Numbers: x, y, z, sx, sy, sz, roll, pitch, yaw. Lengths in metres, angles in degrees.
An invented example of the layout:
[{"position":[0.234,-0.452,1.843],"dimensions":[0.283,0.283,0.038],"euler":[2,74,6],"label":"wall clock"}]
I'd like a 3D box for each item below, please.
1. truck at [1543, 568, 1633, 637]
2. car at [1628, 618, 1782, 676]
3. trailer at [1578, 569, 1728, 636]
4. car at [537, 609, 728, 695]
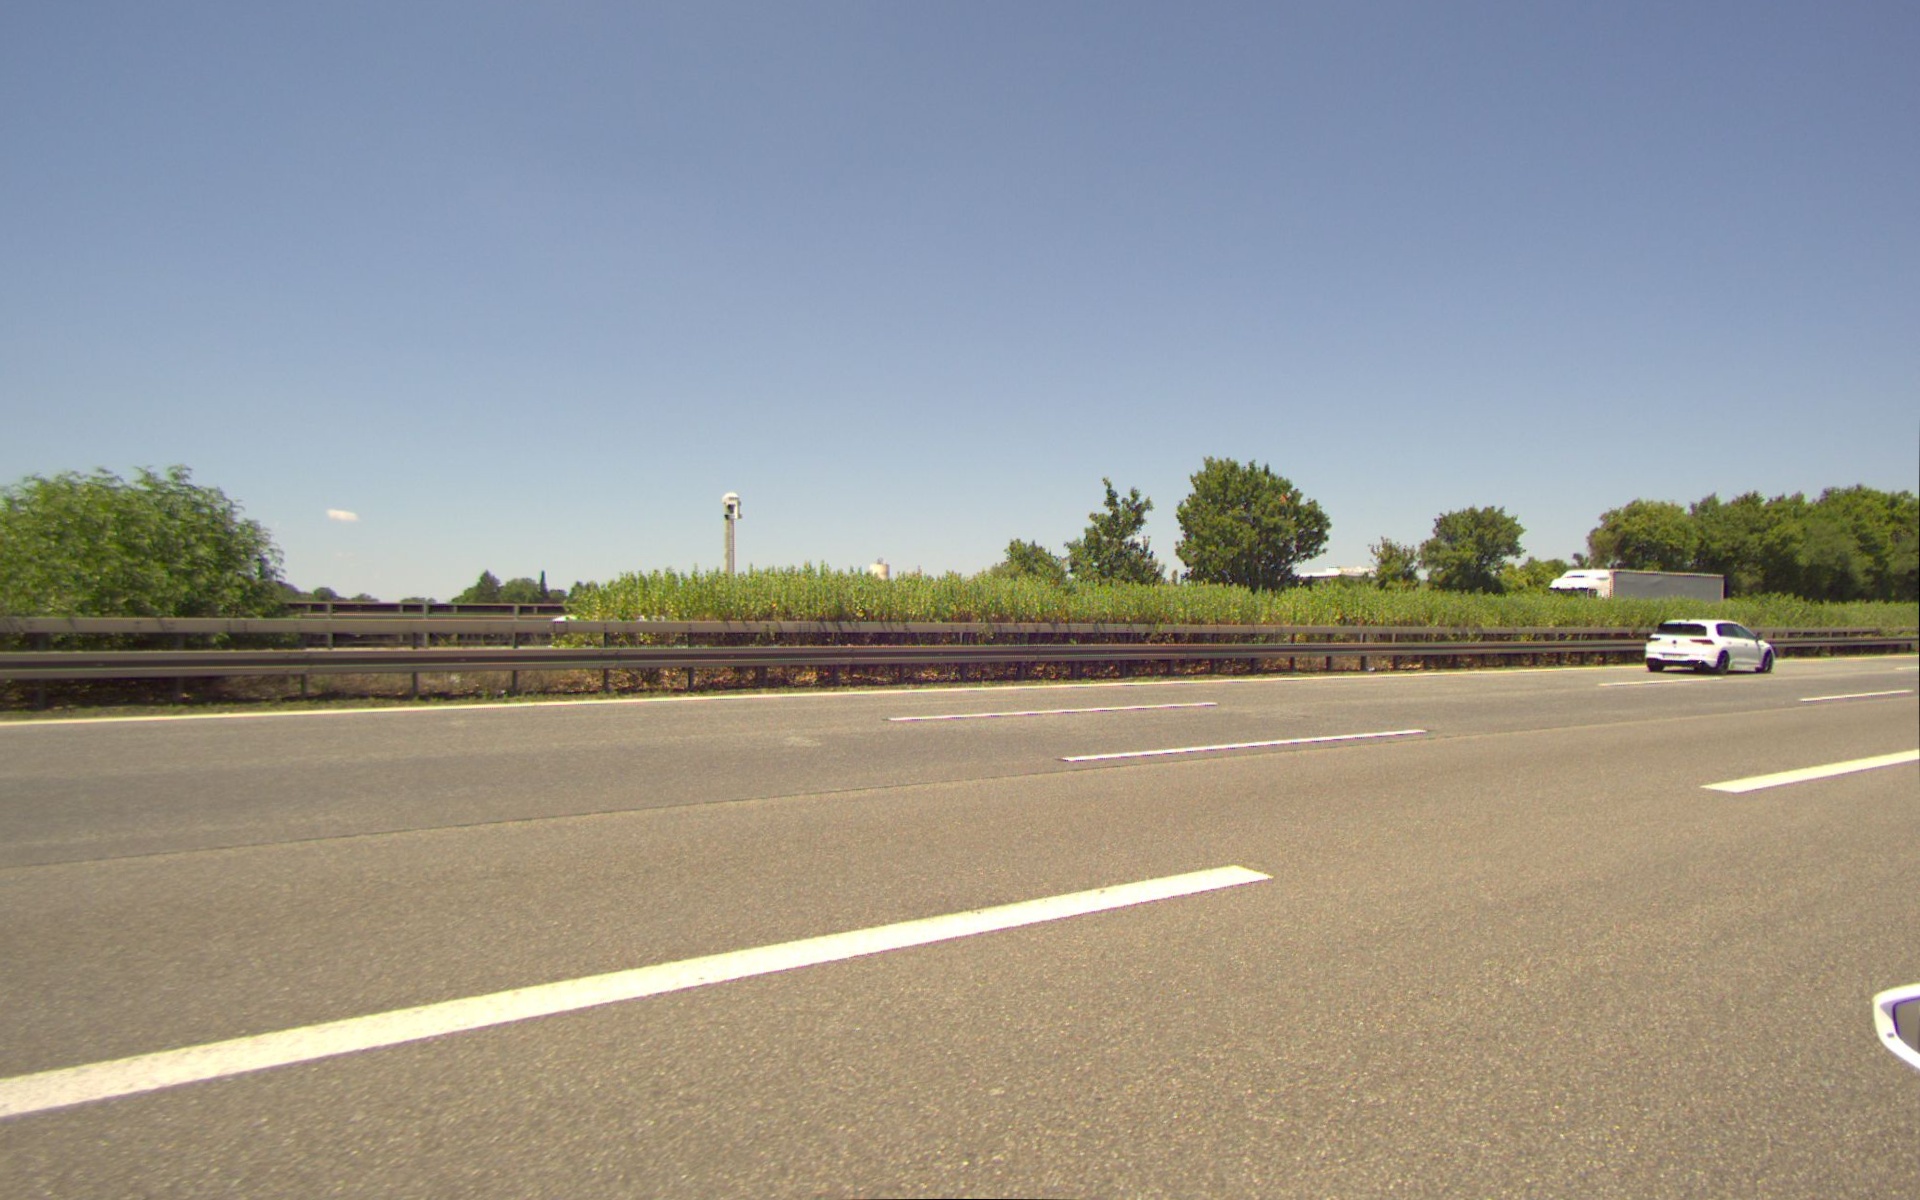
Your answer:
[{"position":[37.943,0.159,60.672],"dimensions":[5.106,4.000,2.525],"euler":[1,0,-31],"label":"truck"},{"position":[20.583,1.260,27.703],"dimensions":[4.614,1.460,1.773],"euler":[1,0,-31],"label":"car"},{"position":[44.845,0.250,64.763],"dimensions":[13.561,4.000,2.525],"euler":[1,0,-31],"label":"trailer"},{"position":[-7.768,1.242,23.858],"dimensions":[3.954,1.852,1.984],"euler":[4,-2,-30],"label":"car"}]
